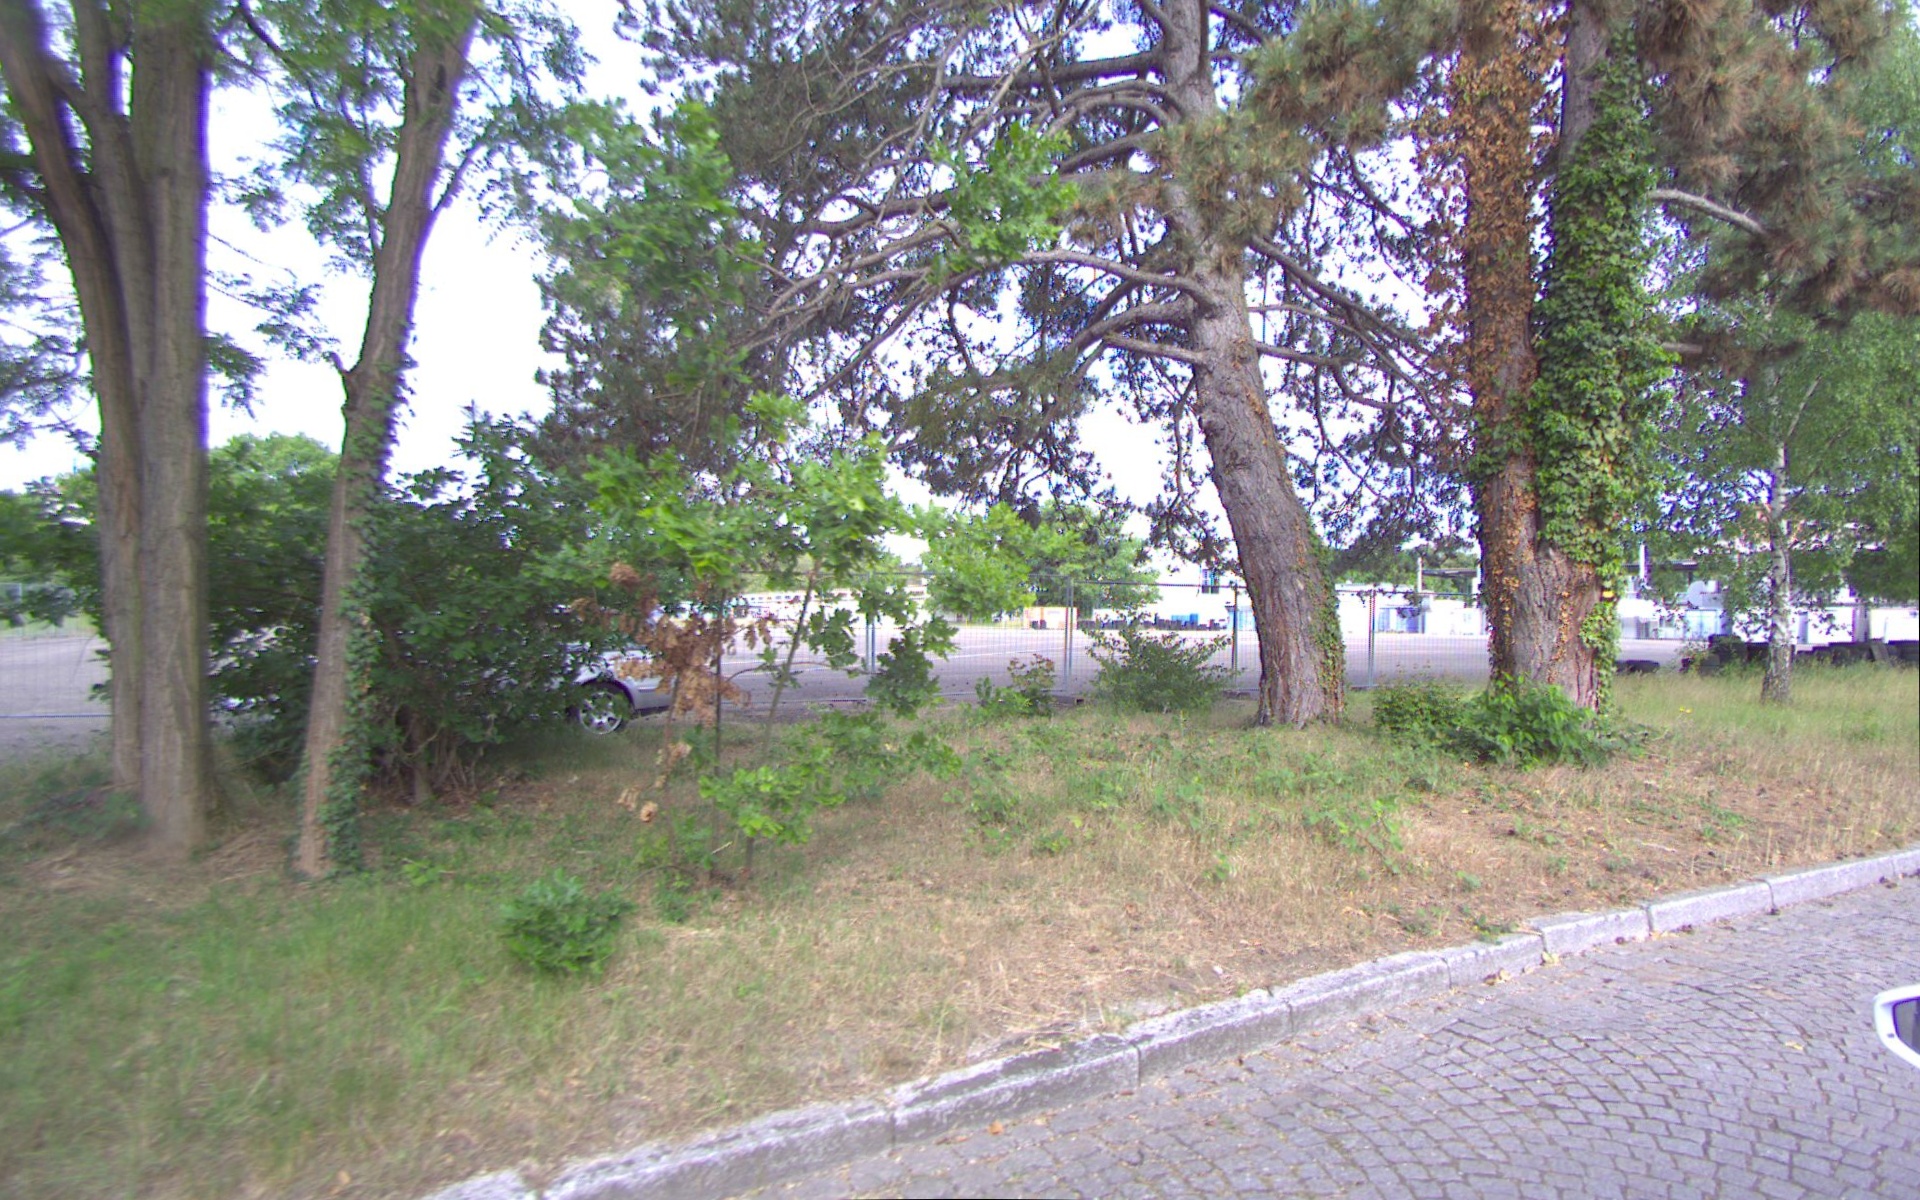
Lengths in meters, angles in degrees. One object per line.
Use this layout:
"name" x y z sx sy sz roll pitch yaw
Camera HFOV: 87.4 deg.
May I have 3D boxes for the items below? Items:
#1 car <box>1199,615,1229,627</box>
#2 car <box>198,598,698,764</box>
"car" 34.544 2.894 136.519 1.611 1.553 3.947 1 -1 -30
"car" -5.230 0.746 10.712 4.416 1.457 1.706 1 -1 -32
